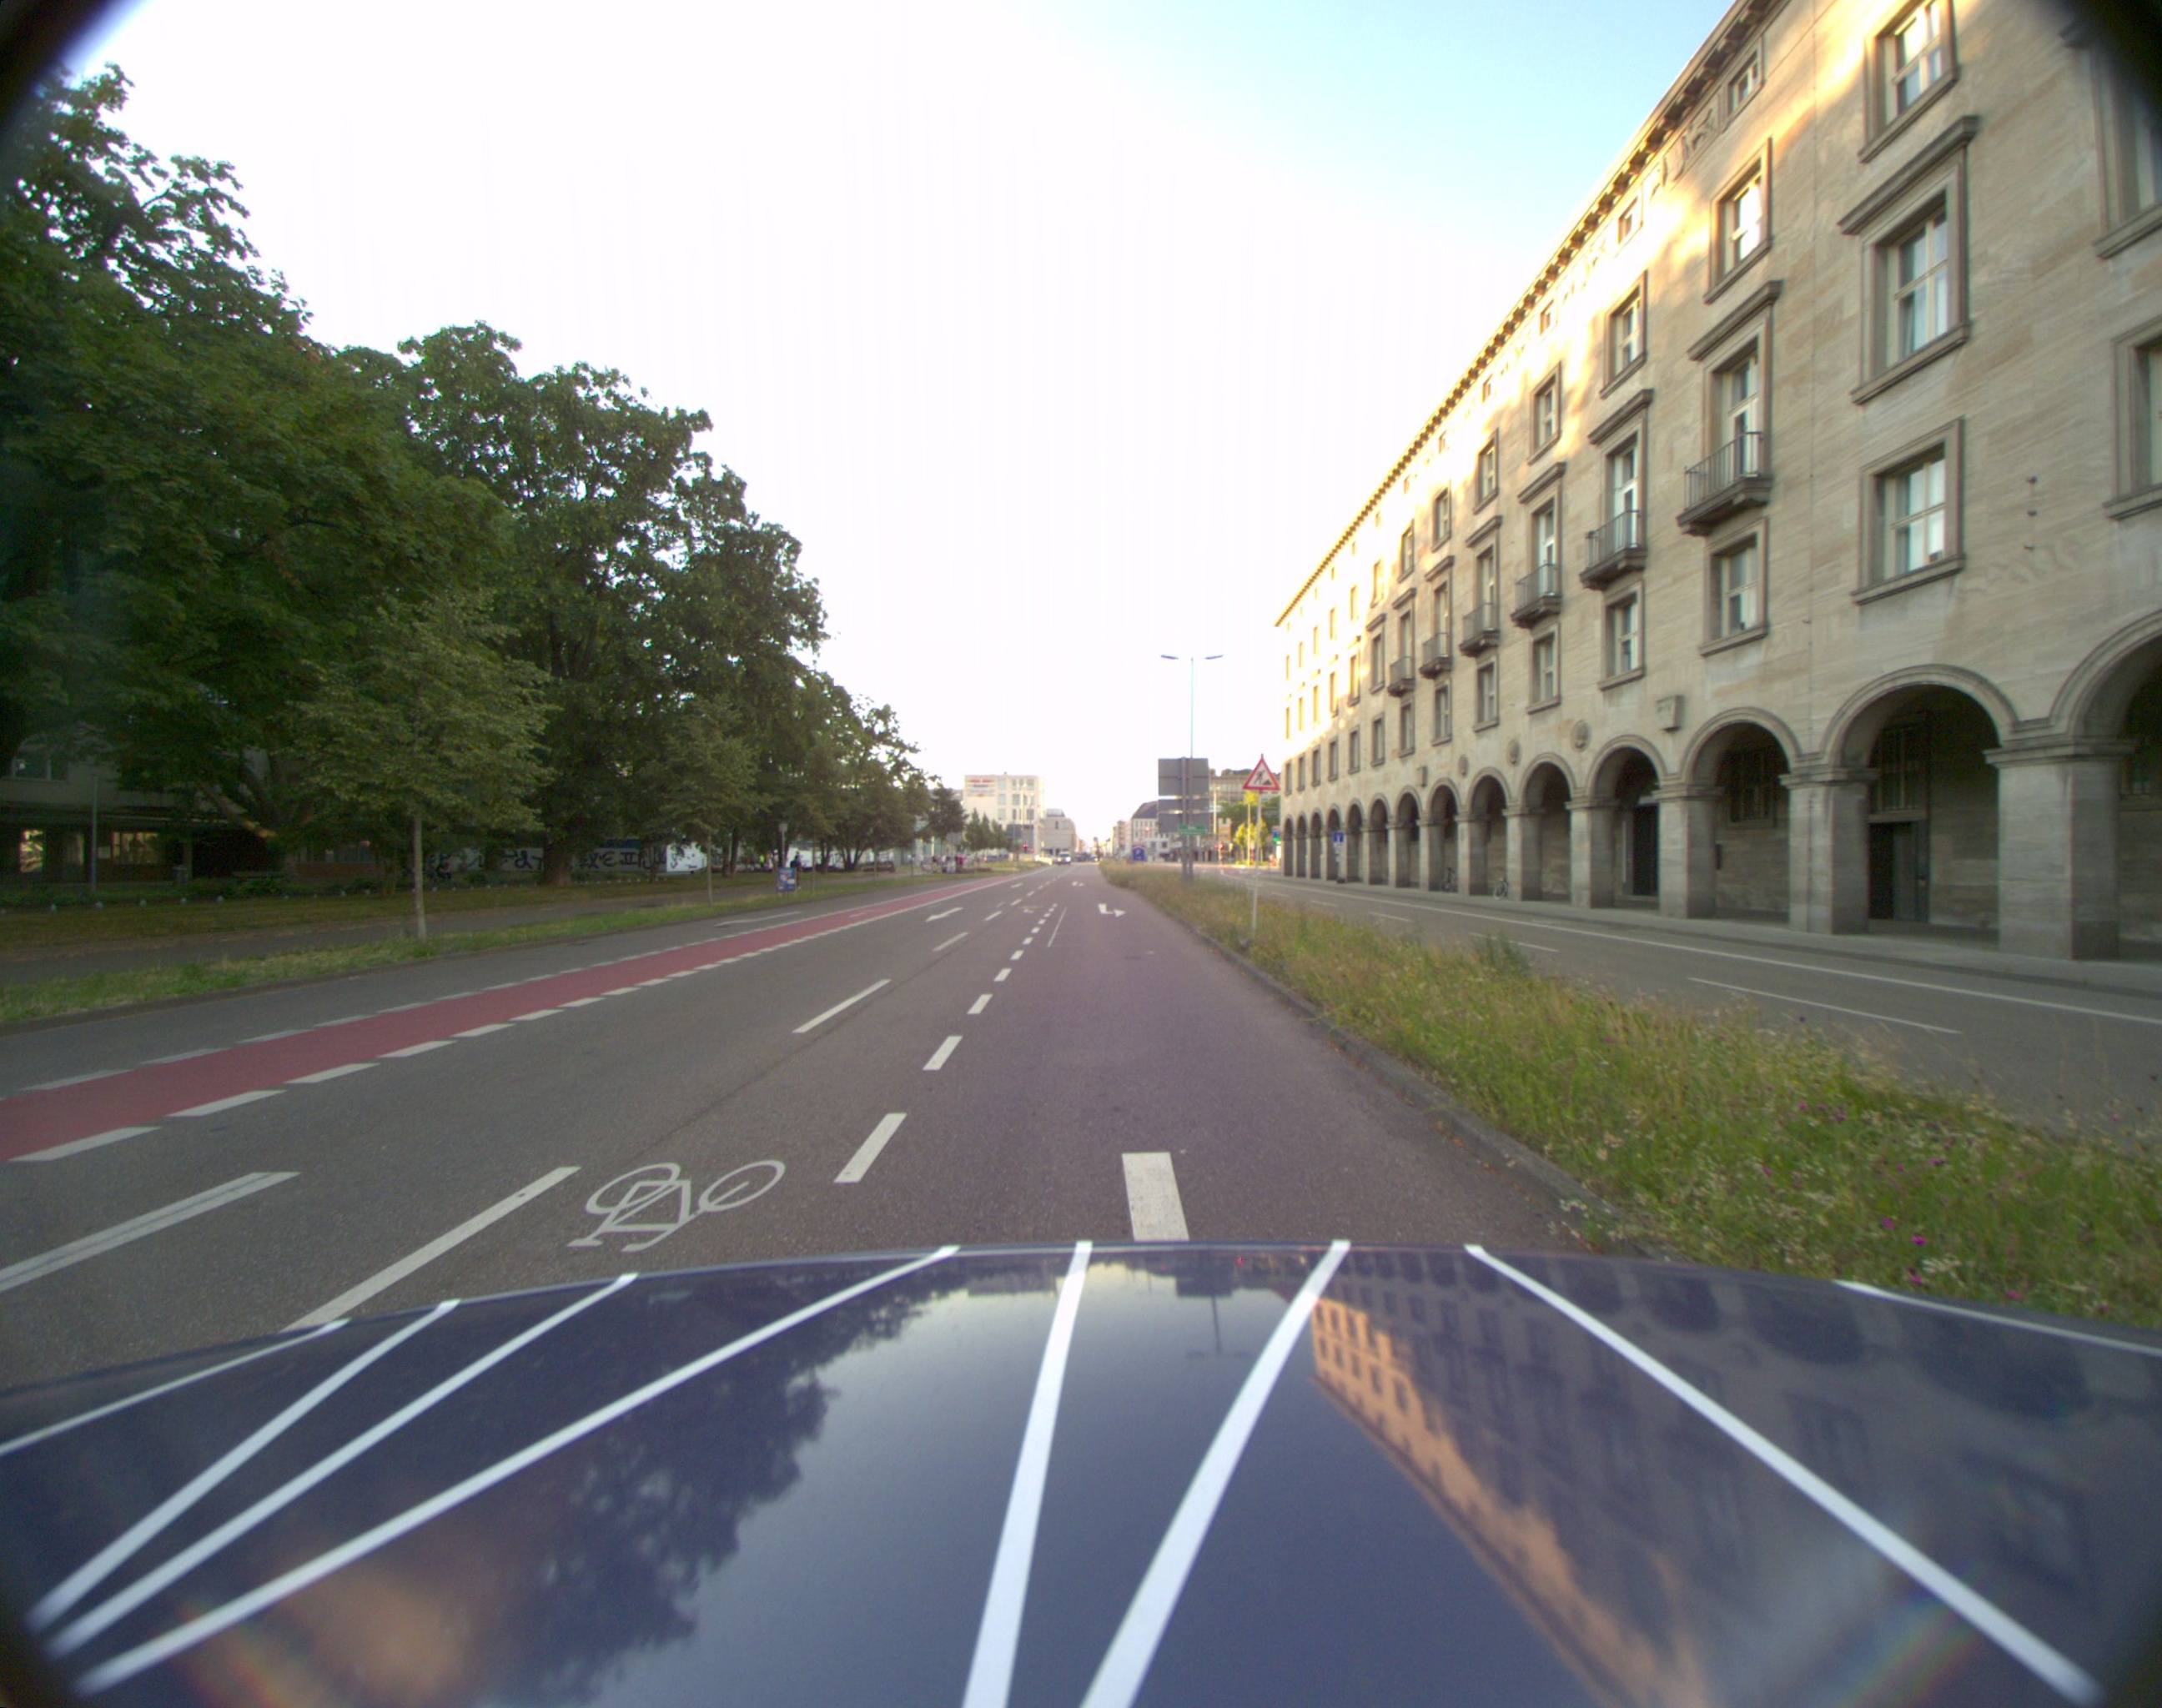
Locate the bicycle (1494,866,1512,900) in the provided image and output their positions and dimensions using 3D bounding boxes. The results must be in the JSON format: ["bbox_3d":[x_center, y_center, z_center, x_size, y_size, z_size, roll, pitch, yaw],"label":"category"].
[{"bbox_3d":[15.389,1.034,27.690,0.513,1.115,2.427,0,1,30],"label":"bicycle"}]

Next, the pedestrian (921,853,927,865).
[{"bbox_3d":[-18.337,0.561,88.713,0.662,1.347,0.559,0,1,1],"label":"pedestrian"}]

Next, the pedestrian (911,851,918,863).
[{"bbox_3d":[-19.473,0.327,88.818,0.728,1.347,0.614,0,1,1],"label":"pedestrian"}]

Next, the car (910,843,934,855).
[{"bbox_3d":[-27.129,-0.783,129.775,4.000,2.002,1.998,0,0,-9],"label":"car"}]

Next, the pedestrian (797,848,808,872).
[{"bbox_3d":[-18.751,0.422,51.128,0.500,1.592,0.522,0,1,1],"label":"pedestrian"}]

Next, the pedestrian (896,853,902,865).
[{"bbox_3d":[-20.151,0.576,84.059,0.519,1.347,0.773,0,1,1],"label":"pedestrian"}]

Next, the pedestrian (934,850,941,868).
[{"bbox_3d":[-14.094,0.494,74.795,0.509,1.720,0.719,0,1,1],"label":"pedestrian"}]

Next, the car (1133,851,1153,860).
[{"bbox_3d":[13.613,0.346,166.846,4.437,2.002,2.000,0,0,3],"label":"car"}]

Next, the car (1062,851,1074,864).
[{"bbox_3d":[-1.945,0.487,111.598,1.767,1.877,4.499,0,0,-1],"label":"car"}]

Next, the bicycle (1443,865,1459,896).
[{"bbox_3d":[15.066,1.041,30.947,0.513,1.172,2.427,0,0,25],"label":"bicycle"}]

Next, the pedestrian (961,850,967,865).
[{"bbox_3d":[-13.739,0.424,88.922,0.638,1.747,0.506,0,1,1],"label":"pedestrian"}]

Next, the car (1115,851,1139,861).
[{"bbox_3d":[8.293,0.419,136.153,4.000,1.797,1.999,0,0,-7],"label":"car"}]

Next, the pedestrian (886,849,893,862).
[{"bbox_3d":[-21.162,0.169,83.951,0.519,1.347,0.773,0,1,1],"label":"pedestrian"}]

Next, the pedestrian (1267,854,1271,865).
[{"bbox_3d":[27.249,0.766,110.098,0.526,1.532,0.390,0,1,1],"label":"pedestrian"}]

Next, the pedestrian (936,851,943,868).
[{"bbox_3d":[-14.549,0.554,78.144,0.519,1.720,0.719,0,1,1],"label":"pedestrian"}]

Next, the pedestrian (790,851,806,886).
[{"bbox_3d":[-14.023,0.727,37.654,0.558,1.729,0.555,0,1,1],"label":"pedestrian"}]

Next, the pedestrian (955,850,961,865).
[{"bbox_3d":[-14.490,0.431,89.393,0.638,1.747,0.506,0,1,1],"label":"pedestrian"}]

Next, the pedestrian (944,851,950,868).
[{"bbox_3d":[-13.778,0.575,78.159,0.509,1.720,0.719,0,1,1],"label":"pedestrian"}]

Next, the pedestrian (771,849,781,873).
[{"bbox_3d":[-20.815,0.483,51.904,0.500,1.592,0.365,0,1,1],"label":"pedestrian"}]
